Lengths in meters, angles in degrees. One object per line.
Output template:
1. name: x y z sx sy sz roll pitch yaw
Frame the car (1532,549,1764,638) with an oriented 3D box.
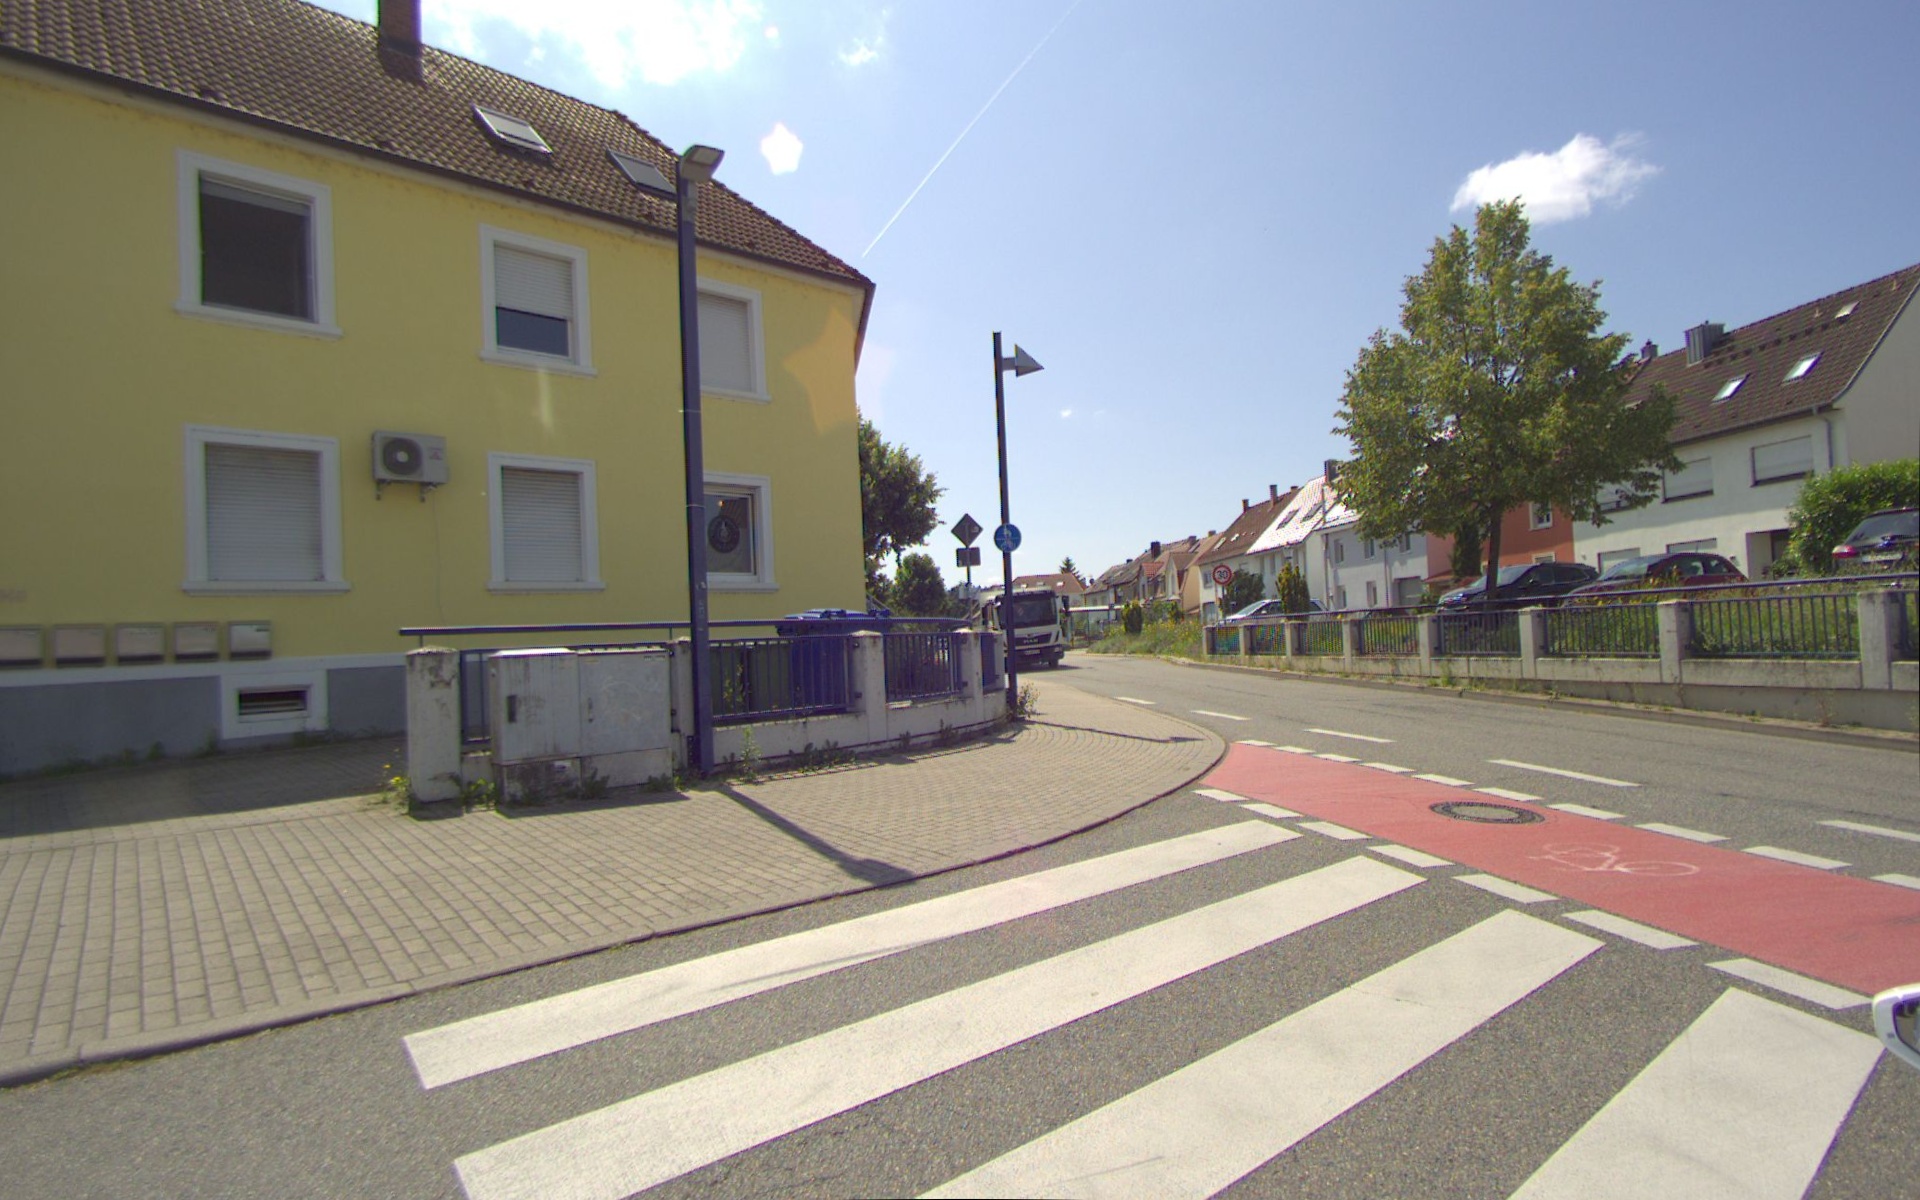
1. car: 13.347 -0.127 19.560 3.550 1.608 1.867 0 1 -15

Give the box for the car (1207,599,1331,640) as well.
1. car: 11.723 0.725 38.262 4.179 1.508 1.745 0 1 -9

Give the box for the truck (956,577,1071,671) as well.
1. truck: 1.691 0.858 35.862 2.570 2.915 8.063 -2 -1 -7

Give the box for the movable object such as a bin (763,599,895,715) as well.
1. movable object such as a bin: -1.483 0.633 11.485 0.829 1.229 1.272 -3 -2 36

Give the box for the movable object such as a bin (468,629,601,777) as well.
1. movable object such as a bin: -3.884 0.903 9.159 0.894 1.241 0.878 -1 -2 -39

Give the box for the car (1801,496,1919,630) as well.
1. car: 14.844 -0.506 14.791 3.933 1.821 1.867 0 1 -15

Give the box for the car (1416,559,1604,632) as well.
1. car: 12.736 -0.100 23.337 3.550 1.608 1.867 0 1 -15
